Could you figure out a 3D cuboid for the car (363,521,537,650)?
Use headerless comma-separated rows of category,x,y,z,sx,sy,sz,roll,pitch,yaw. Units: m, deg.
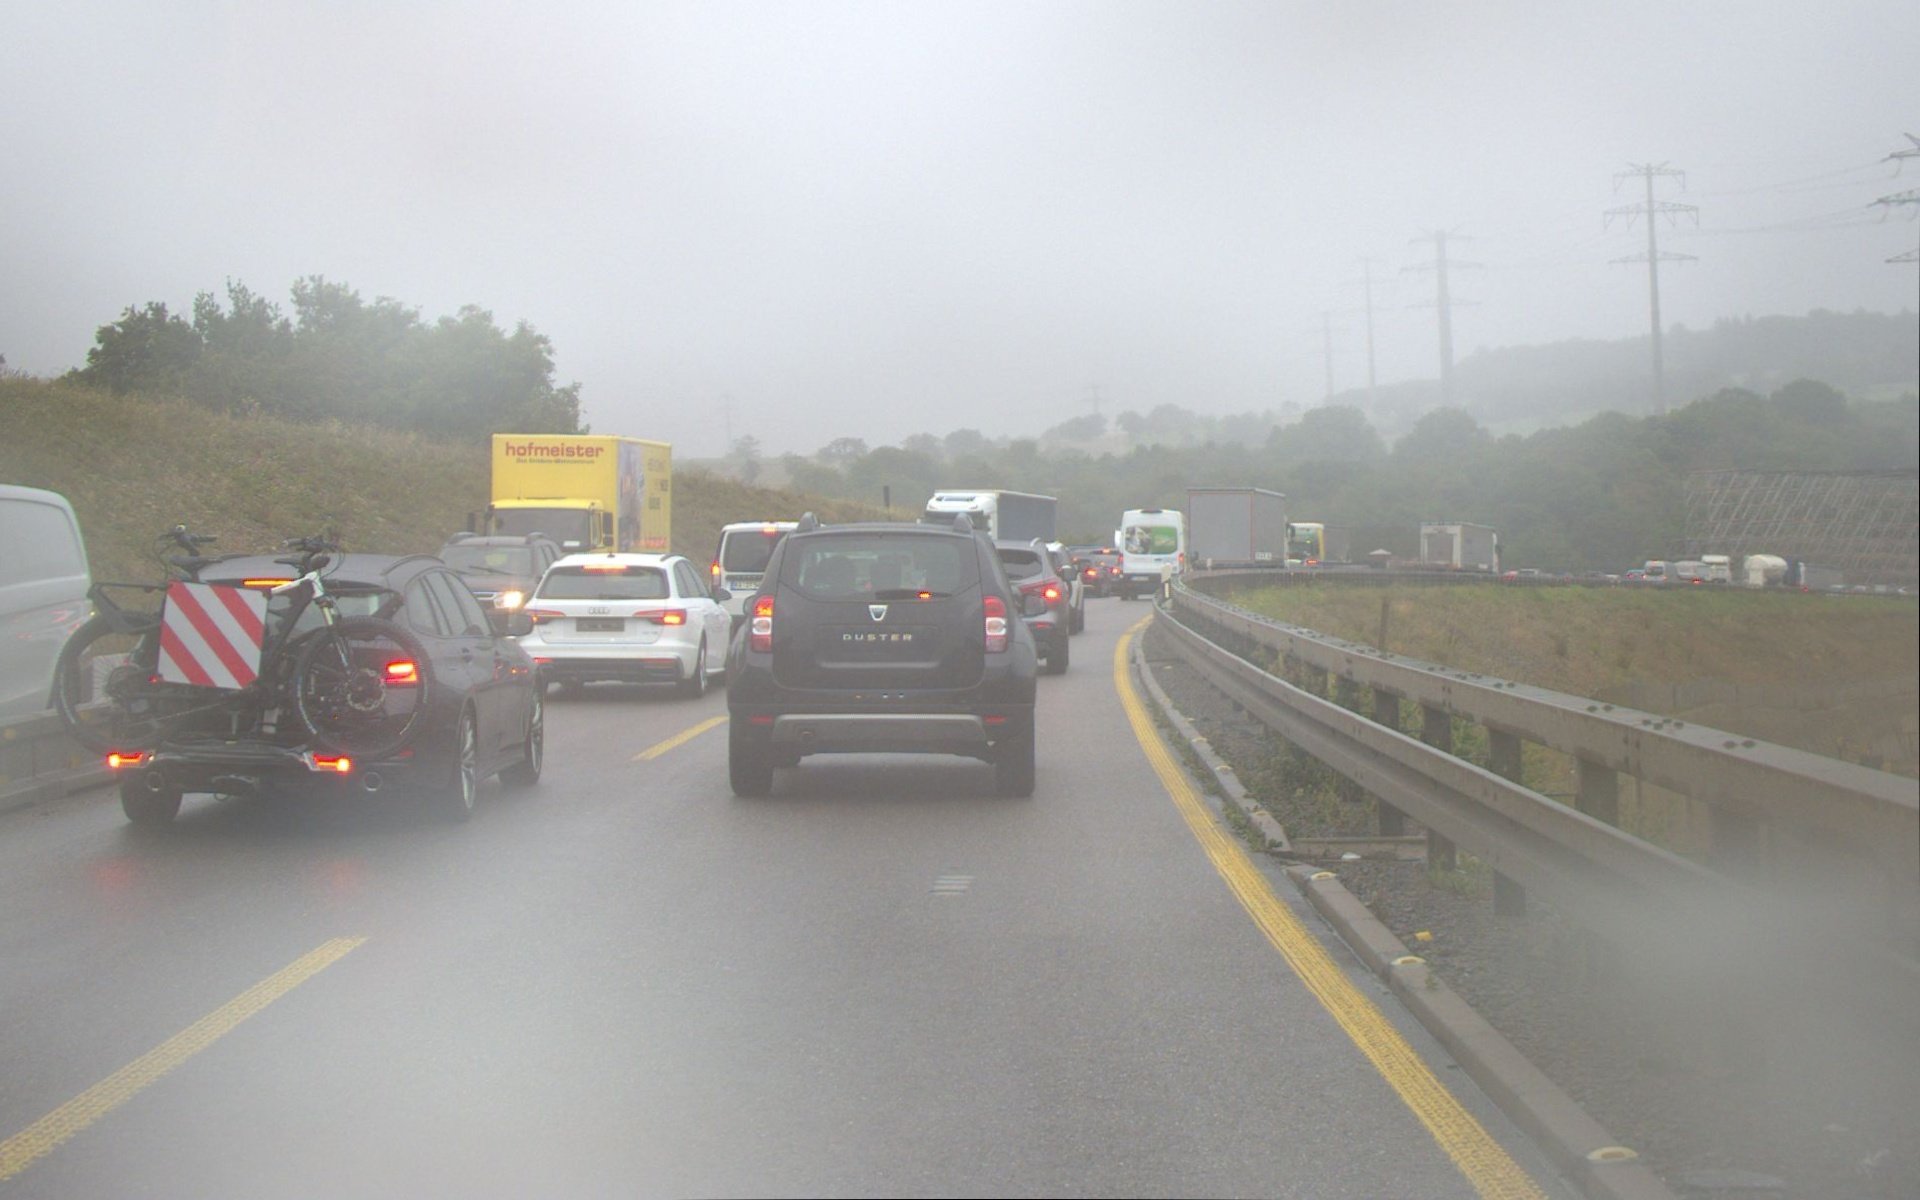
car,-6.684,-0.221,45.403,1.760,1.592,4.000,1,1,-1

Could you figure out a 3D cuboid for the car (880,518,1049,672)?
car,0.106,-0.094,40.916,1.868,1.702,4.000,1,1,2

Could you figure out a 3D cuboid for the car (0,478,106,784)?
car,-6.877,0.173,21.019,2.000,1.880,5.274,1,1,0

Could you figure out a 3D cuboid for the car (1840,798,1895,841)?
car,44.958,10.882,170.403,1.994,1.809,3.999,0,1,5

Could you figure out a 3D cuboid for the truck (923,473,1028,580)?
truck,0.731,-2.990,140.429,2.934,4.083,14.388,1,1,5

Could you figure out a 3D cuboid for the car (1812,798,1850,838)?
car,51.608,12.895,203.665,1.995,2.007,3.997,1,1,16

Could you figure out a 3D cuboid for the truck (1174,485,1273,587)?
truck,10.273,-2.483,133.284,3.201,3.748,8.507,1,1,8

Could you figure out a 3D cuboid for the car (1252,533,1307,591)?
car,10.928,-1.312,117.278,1.775,1.909,3.999,1,1,6

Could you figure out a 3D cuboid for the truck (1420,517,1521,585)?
truck,32.832,-3.150,220.416,4.720,4.135,15.672,1,1,15

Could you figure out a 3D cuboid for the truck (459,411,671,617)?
truck,-8.020,-1.755,70.954,2.769,3.983,8.421,0,1,4

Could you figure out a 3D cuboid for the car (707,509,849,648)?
car,-2.569,-0.330,49.215,1.660,1.873,4.020,1,1,2

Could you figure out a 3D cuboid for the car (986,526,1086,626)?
car,1.337,-0.429,59.249,1.531,1.635,4.012,1,1,3

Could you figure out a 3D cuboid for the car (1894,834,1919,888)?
car,43.082,11.576,152.461,2.365,2.007,4.000,1,1,3

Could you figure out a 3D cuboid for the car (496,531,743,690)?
car,-3.340,0.052,34.496,1.868,1.455,4.548,1,1,2

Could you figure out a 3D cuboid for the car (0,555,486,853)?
car,-3.833,0.492,18.984,1.829,1.471,3.776,0,1,1

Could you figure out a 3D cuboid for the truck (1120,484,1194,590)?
truck,6.170,-1.965,107.041,2.149,3.155,6.459,1,1,4

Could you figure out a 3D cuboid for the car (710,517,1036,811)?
car,-0.445,0.330,21.098,1.804,1.640,3.776,0,1,2
